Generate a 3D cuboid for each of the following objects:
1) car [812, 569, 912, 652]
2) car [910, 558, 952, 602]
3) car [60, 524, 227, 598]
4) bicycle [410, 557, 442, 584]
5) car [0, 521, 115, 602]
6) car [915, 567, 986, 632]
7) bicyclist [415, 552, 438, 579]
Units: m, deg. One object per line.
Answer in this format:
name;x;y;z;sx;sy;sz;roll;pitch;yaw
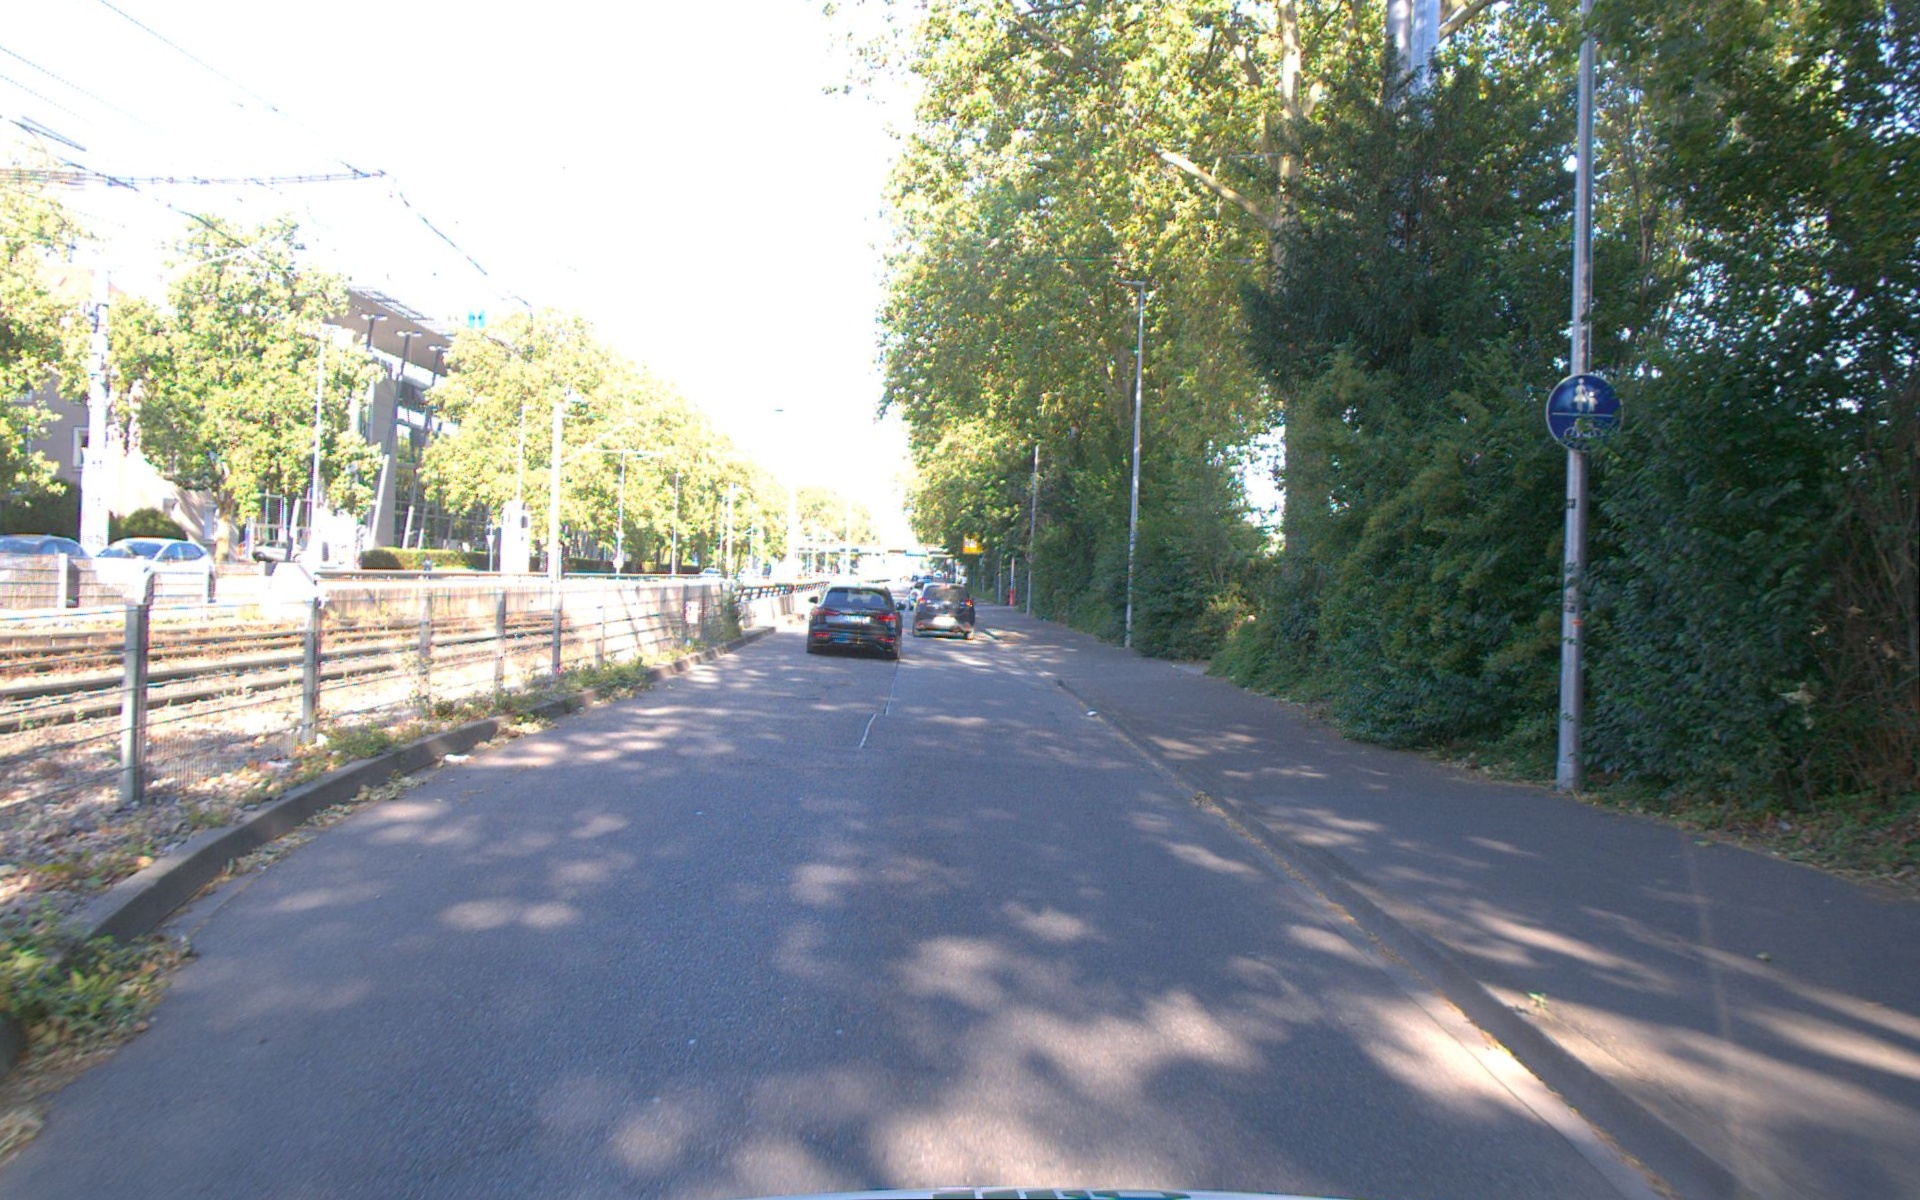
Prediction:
car;-1.950;0.169;33.008;1.841;1.482;3.355;2;1;-3
car;-1.401;-1.014;81.281;1.953;2.048;4.000;2;1;-1
car;-19.291;-0.906;39.293;1.953;1.556;3.999;3;1;-1
bicycle;-31.214;-1.721;96.705;0.911;1.512;3.176;2;1;-3
car;-19.481;-0.826;34.459;1.704;1.574;3.999;3;1;-1
car;-0.303;-0.044;45.836;1.728;1.647;3.998;2;1;-3
bicyclist;-31.163;-2.015;96.578;0.911;1.512;1.272;2;1;-3
